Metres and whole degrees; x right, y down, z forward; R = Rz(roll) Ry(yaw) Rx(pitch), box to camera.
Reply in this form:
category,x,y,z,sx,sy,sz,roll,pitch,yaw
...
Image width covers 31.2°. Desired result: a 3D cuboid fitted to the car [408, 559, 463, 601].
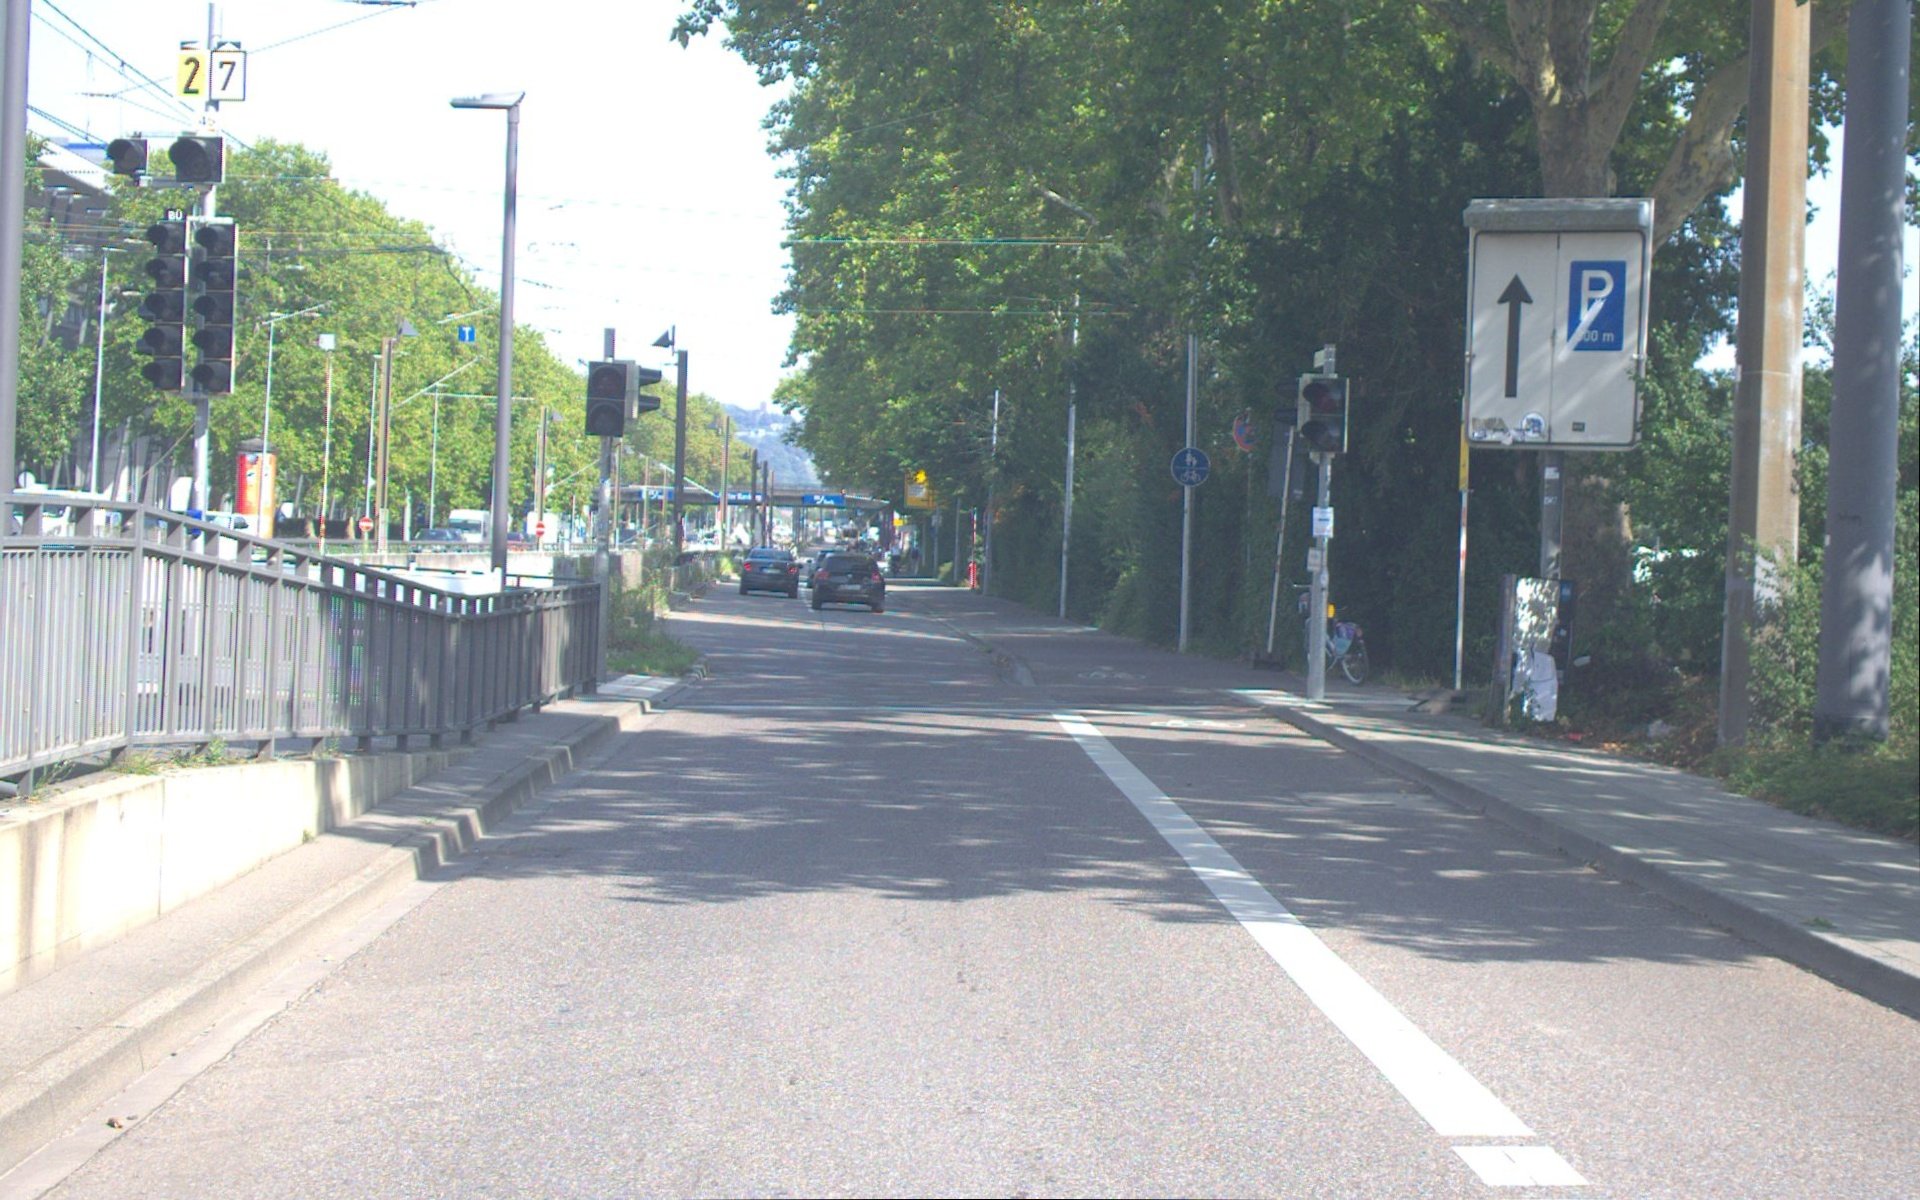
category,x,y,z,sx,sy,sz,roll,pitch,yaw
car,-23.527,-0.888,154.248,1.993,1.831,4.000,-1,0,-2

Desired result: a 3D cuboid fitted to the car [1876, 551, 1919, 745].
category,x,y,z,sx,sy,sz,roll,pitch,yaw
car,9.831,0.471,28.224,3.986,1.581,2.000,2,1,-2

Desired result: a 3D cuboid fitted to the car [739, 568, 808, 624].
category,x,y,z,sx,sy,sz,roll,pitch,yaw
car,-5.486,-0.123,101.281,1.973,1.532,4.001,-1,1,-3

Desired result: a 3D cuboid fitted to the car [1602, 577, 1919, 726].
category,x,y,z,sx,sy,sz,roll,pitch,yaw
car,9.923,0.612,41.122,3.986,1.581,2.000,2,1,-2

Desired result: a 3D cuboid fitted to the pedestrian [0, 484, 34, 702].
category,x,y,z,sx,sy,sz,roll,pitch,yaw
pedestrian,-8.200,-0.060,28.968,0.707,1.815,0.773,0,0,-11

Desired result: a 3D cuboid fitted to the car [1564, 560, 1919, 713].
category,x,y,z,sx,sy,sz,roll,pitch,yaw
car,9.874,0.440,43.496,3.986,1.718,2.000,2,1,-2

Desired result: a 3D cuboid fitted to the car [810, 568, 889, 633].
category,x,y,z,sx,sy,sz,roll,pitch,yaw
car,-2.772,0.001,85.337,1.907,1.532,4.001,0,1,-3

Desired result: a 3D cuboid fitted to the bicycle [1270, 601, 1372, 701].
category,x,y,z,sx,sy,sz,roll,pitch,yaw
bicycle,4.031,0.556,38.555,0.610,1.018,2.403,2,1,-6
